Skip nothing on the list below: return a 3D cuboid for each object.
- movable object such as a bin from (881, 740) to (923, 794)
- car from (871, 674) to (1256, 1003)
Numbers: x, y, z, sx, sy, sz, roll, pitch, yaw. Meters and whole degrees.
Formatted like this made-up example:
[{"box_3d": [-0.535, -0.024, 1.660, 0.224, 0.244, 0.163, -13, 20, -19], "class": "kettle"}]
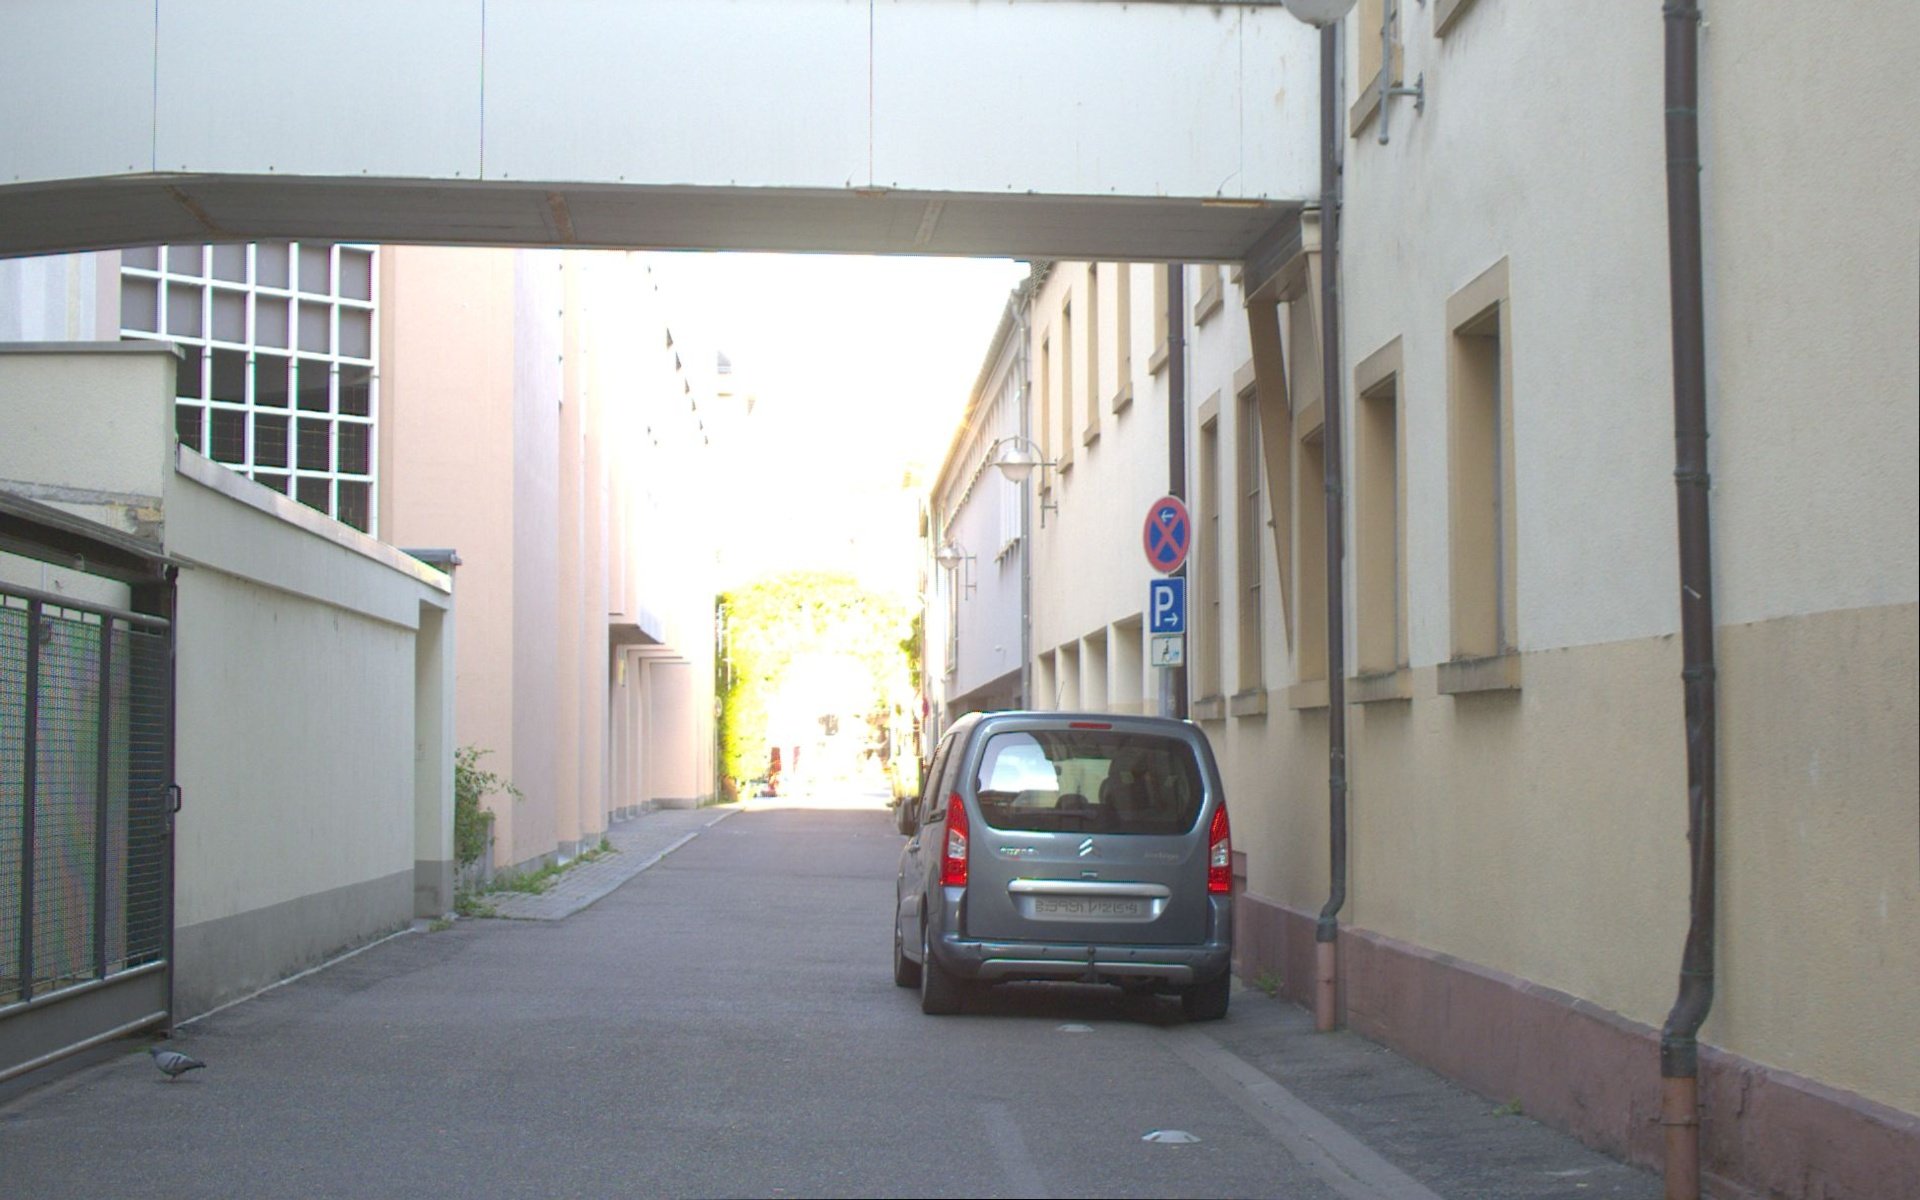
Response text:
[{"box_3d": [-1.582, 4.526, 93.379, 1.107, 1.431, 1.414, 0, -1, -2], "class": "movable object such as a bin"}, {"box_3d": [0.538, 1.492, 21.417, 1.855, 1.750, 4.162, 3, -4, -5], "class": "car"}]
